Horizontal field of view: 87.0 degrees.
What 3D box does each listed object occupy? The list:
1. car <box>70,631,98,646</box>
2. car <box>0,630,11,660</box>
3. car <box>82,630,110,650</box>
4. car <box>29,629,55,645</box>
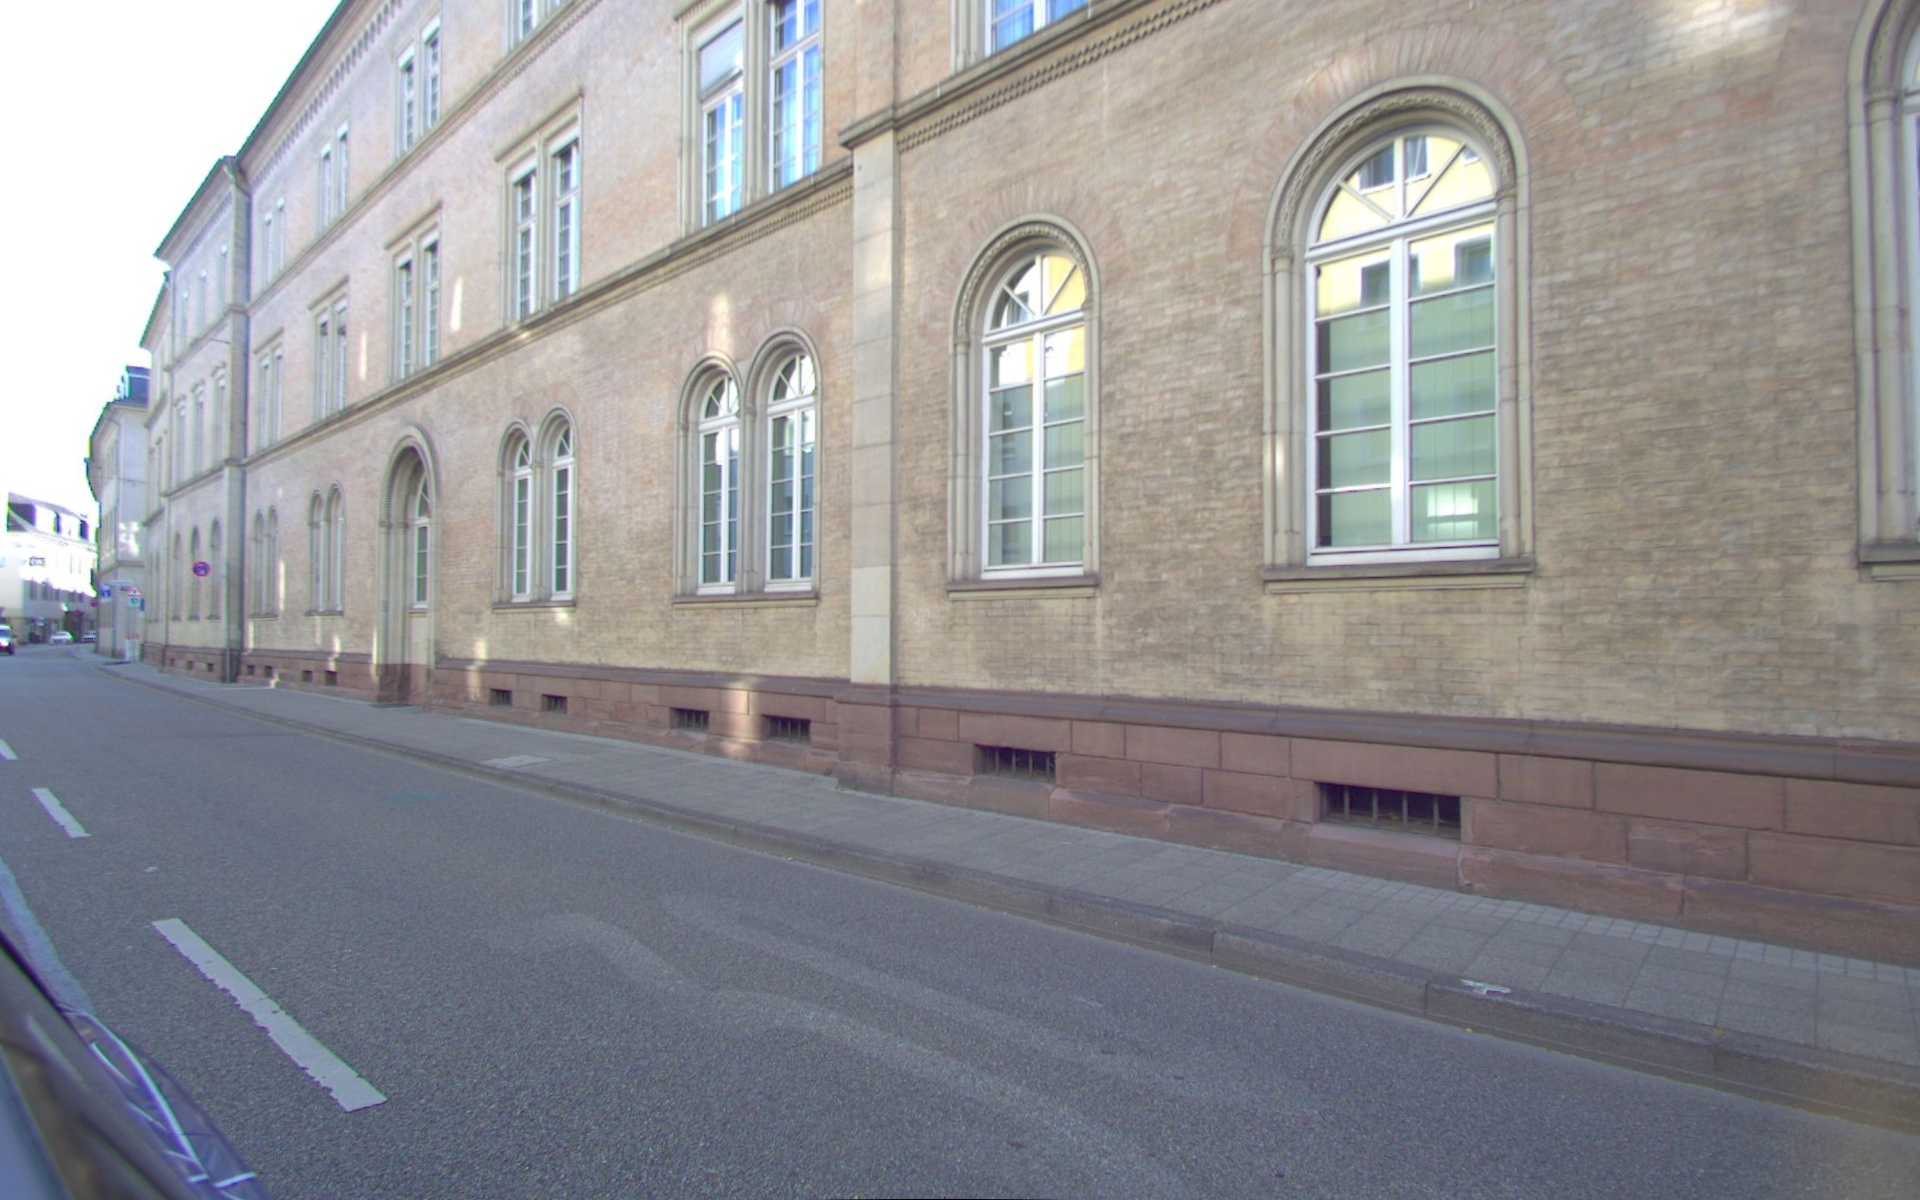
[{"bbox_3d":[-109.410,4.803,126.436,1.896,1.737,4.242,1,-2,-31],"label":"car"},{"bbox_3d":[-58.764,2.706,61.219,1.895,1.735,4.965,2,-3,-43],"label":"car"},{"bbox_3d":[-80.191,3.707,93.926,1.638,1.737,3.748,1,-2,-36],"label":"car"},{"bbox_3d":[-102.459,4.138,112.984,1.511,1.737,3.749,1,-2,-34],"label":"car"}]
